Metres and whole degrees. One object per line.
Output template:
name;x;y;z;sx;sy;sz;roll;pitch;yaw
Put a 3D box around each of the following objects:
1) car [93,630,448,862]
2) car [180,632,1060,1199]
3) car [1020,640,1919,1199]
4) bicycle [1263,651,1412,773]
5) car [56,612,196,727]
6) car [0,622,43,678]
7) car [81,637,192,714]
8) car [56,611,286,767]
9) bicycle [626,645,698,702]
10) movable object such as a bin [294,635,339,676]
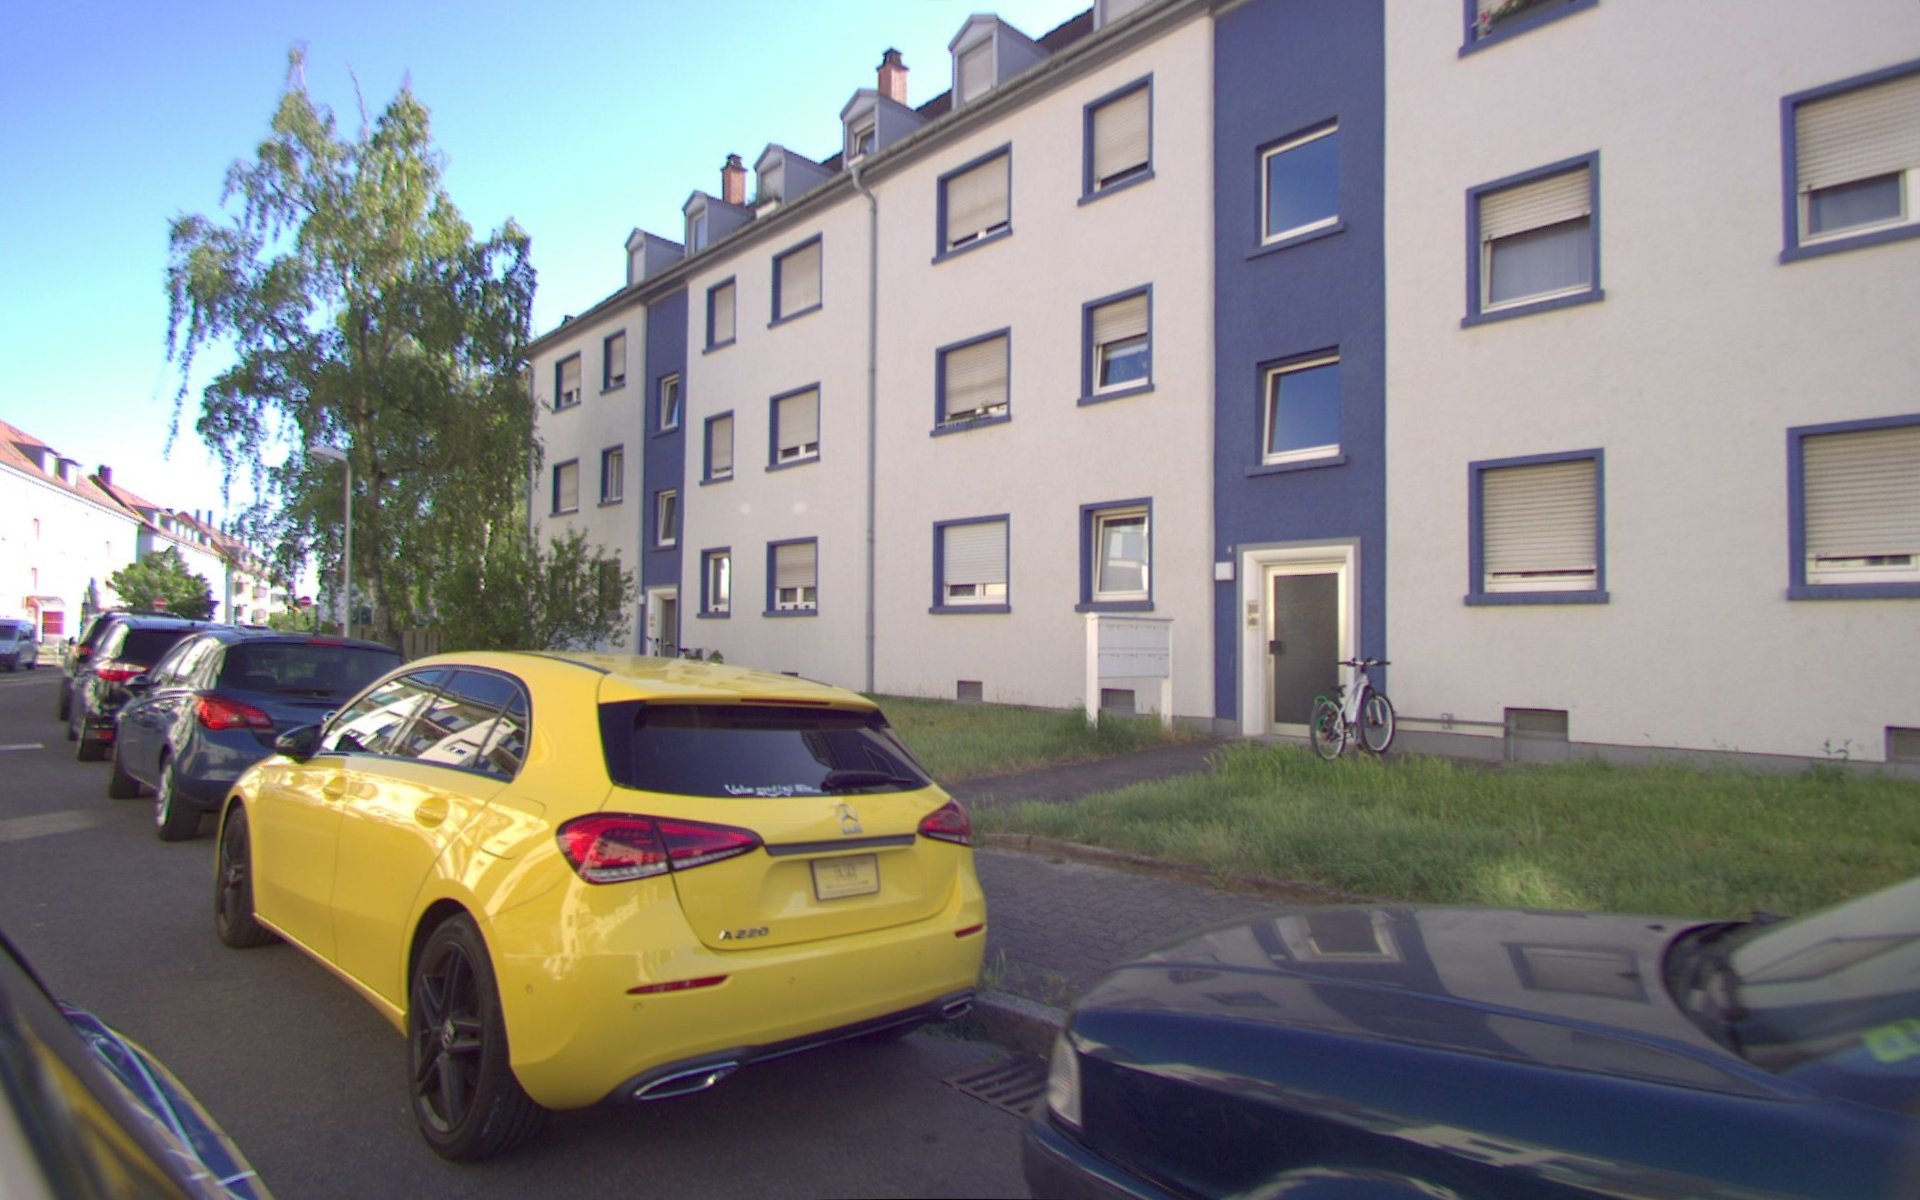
car;-5.887;1.007;8.435;1.674;1.456;4.022;4;-4;-45
car;-1.747;0.895;4.233;4.156;1.400;1.675;-3;-6;43
car;2.240;0.809;0.965;4.256;1.476;1.553;-2;-6;38
bicycle;3.924;1.106;10.442;1.797;1.086;0.569;0;-2;-39
car;-14.416;1.160;17.434;1.536;1.727;4.343;7;-6;-41
car;-32.977;1.675;34.505;1.723;1.838;4.143;4;-4;-32
car;-17.475;1.573;21.621;1.535;1.453;3.976;6;-6;-36
car;-9.864;1.105;12.534;1.674;1.572;4.160;10;-10;-43
bicycle;-6.227;1.542;21.194;0.415;1.161;1.392;-2;-5;44
movable object such as a bin;-22.334;1.930;35.149;1.202;1.391;0.770;1;-3;-25
